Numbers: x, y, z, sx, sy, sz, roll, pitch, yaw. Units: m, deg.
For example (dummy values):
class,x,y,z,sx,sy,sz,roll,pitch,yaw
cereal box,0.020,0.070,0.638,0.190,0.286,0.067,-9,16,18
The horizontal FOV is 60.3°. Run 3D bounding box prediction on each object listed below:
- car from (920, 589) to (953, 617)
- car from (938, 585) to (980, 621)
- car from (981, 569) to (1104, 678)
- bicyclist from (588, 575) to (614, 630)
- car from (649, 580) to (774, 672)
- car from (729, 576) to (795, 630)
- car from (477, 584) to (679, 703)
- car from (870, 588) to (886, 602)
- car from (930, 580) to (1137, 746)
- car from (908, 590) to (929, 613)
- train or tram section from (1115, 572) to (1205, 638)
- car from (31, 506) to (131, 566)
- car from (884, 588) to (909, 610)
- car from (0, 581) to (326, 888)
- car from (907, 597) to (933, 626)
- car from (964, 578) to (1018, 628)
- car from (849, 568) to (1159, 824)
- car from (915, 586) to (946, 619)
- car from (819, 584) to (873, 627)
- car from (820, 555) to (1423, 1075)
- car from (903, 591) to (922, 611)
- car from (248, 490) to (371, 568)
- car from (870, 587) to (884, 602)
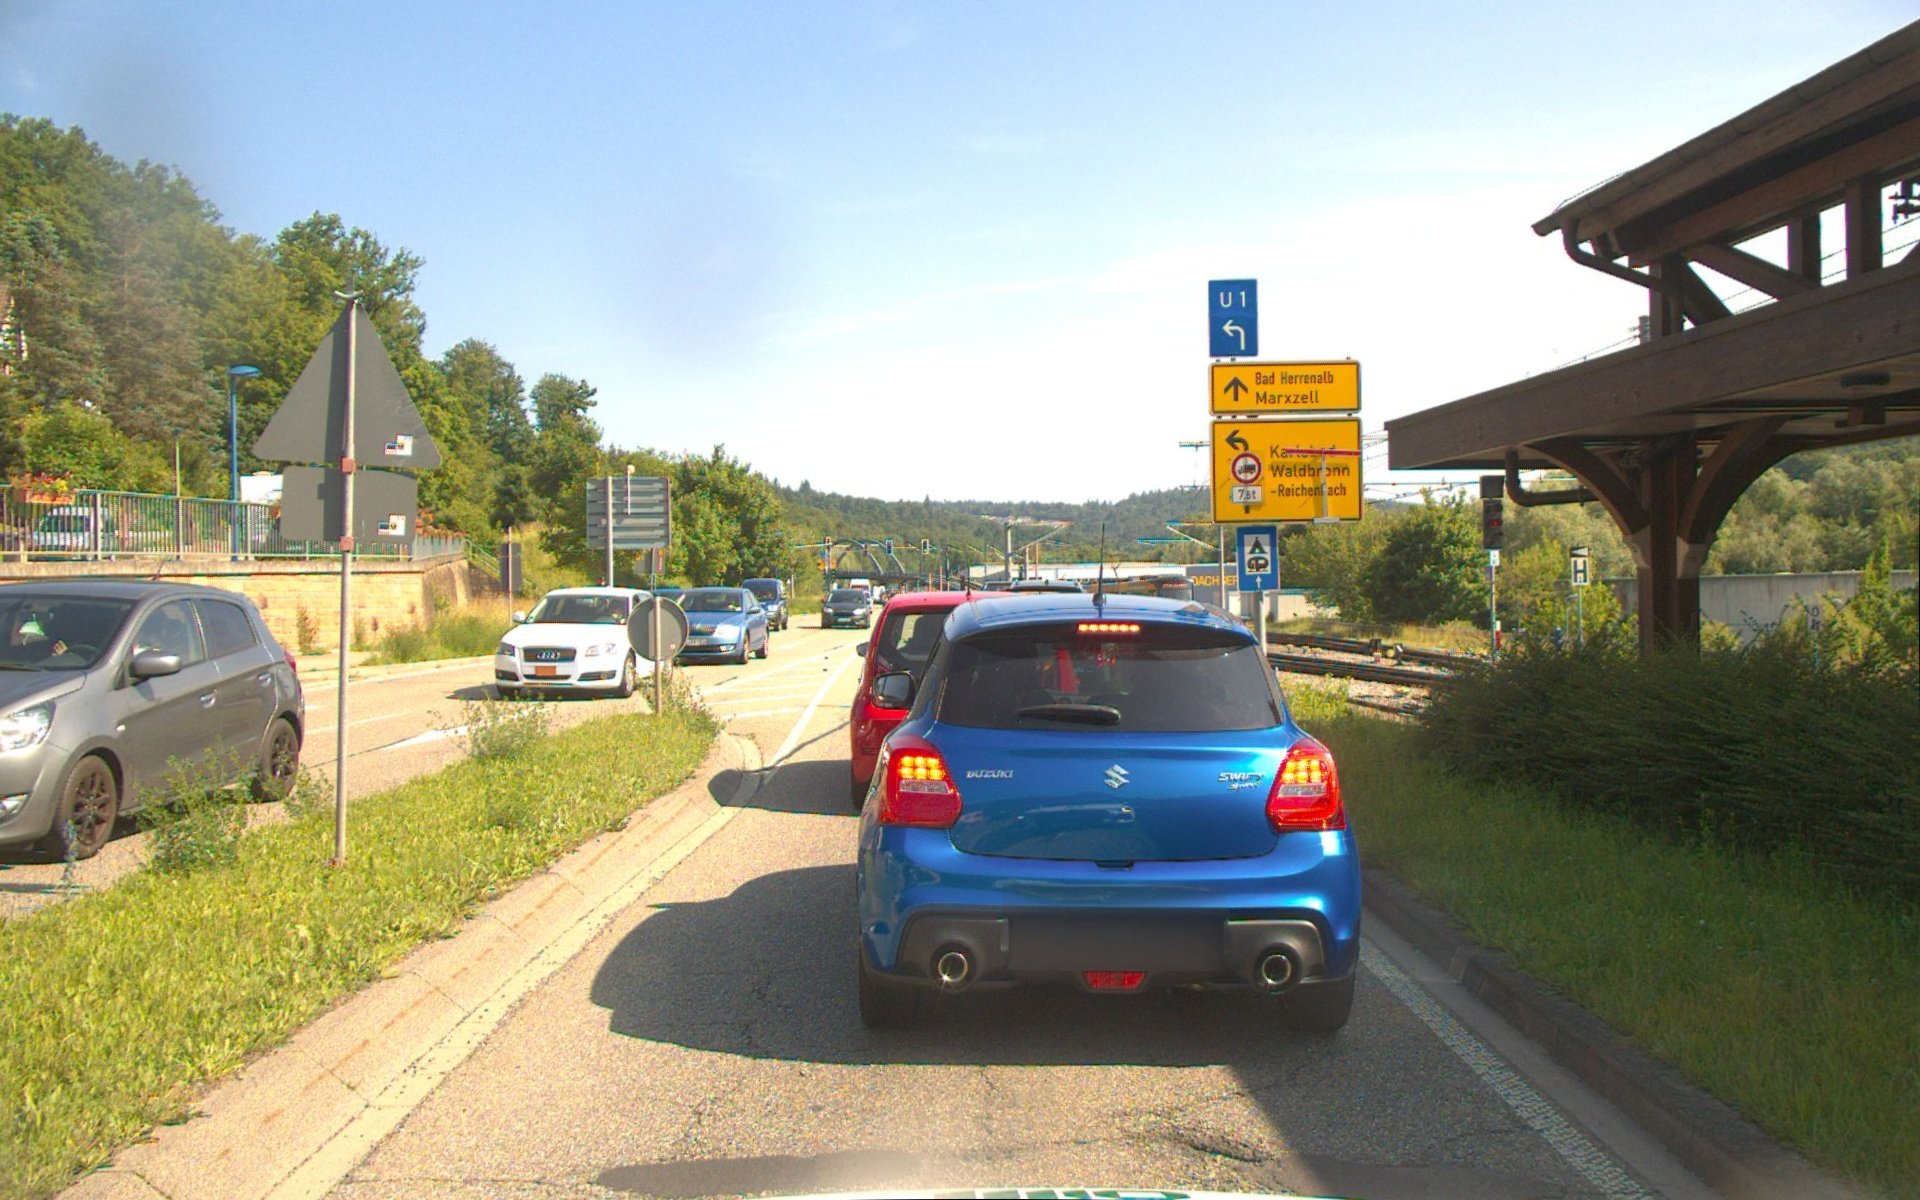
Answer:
class,x,y,z,sx,sy,sz,roll,pitch,yaw
car,-1.377,0.177,98.099,1.794,1.519,3.812,2,1,1
car,-0.025,0.126,75.175,1.794,1.456,3.812,2,1,1
car,1.376,0.361,29.204,1.952,1.716,4.497,2,1,1
bicyclist,-10.328,0.064,47.640,0.617,1.533,0.505,2,1,-4
car,-4.809,0.456,32.520,1.795,1.493,3.812,2,3,1
car,-6.944,0.083,58.272,1.795,1.743,3.811,2,1,1
car,-5.118,0.521,22.670,1.795,1.393,3.950,1,1,1
car,-11.478,-0.719,232.255,1.956,1.848,3.995,2,1,-7
car,0.723,0.576,17.980,1.952,1.558,4.602,0,1,1
car,-3.933,0.127,156.888,1.953,2.048,4.000,2,1,-1
train or tram section,11.157,0.205,93.880,2.798,3.423,14.347,1,0,-2
car,-26.152,-1.867,49.336,1.864,1.658,3.982,0,1,-16
car,-5.346,-0.115,140.022,1.953,1.814,3.999,1,0,-1
car,-5.349,0.630,9.827,1.637,1.466,3.840,1,0,1
car,-3.135,0.904,130.056,1.953,2.048,4.000,2,1,-1
car,1.180,0.090,63.280,1.952,1.766,4.000,2,1,1
car,0.308,0.614,12.610,1.952,1.598,4.000,1,0,1
car,-1.983,0.153,111.875,1.953,2.048,4.000,2,1,-1
car,-4.258,0.187,62.234,1.795,1.456,3.810,2,1,-2
car,0.448,0.642,7.038,1.831,1.575,3.999,1,0,-2
car,-5.112,0.109,179.874,1.953,2.048,4.000,2,1,-1
car,-17.734,-1.907,45.293,1.982,1.953,4.724,2,1,-7
car,-12.860,-0.856,255.745,1.953,2.181,4.719,1,0,-1
